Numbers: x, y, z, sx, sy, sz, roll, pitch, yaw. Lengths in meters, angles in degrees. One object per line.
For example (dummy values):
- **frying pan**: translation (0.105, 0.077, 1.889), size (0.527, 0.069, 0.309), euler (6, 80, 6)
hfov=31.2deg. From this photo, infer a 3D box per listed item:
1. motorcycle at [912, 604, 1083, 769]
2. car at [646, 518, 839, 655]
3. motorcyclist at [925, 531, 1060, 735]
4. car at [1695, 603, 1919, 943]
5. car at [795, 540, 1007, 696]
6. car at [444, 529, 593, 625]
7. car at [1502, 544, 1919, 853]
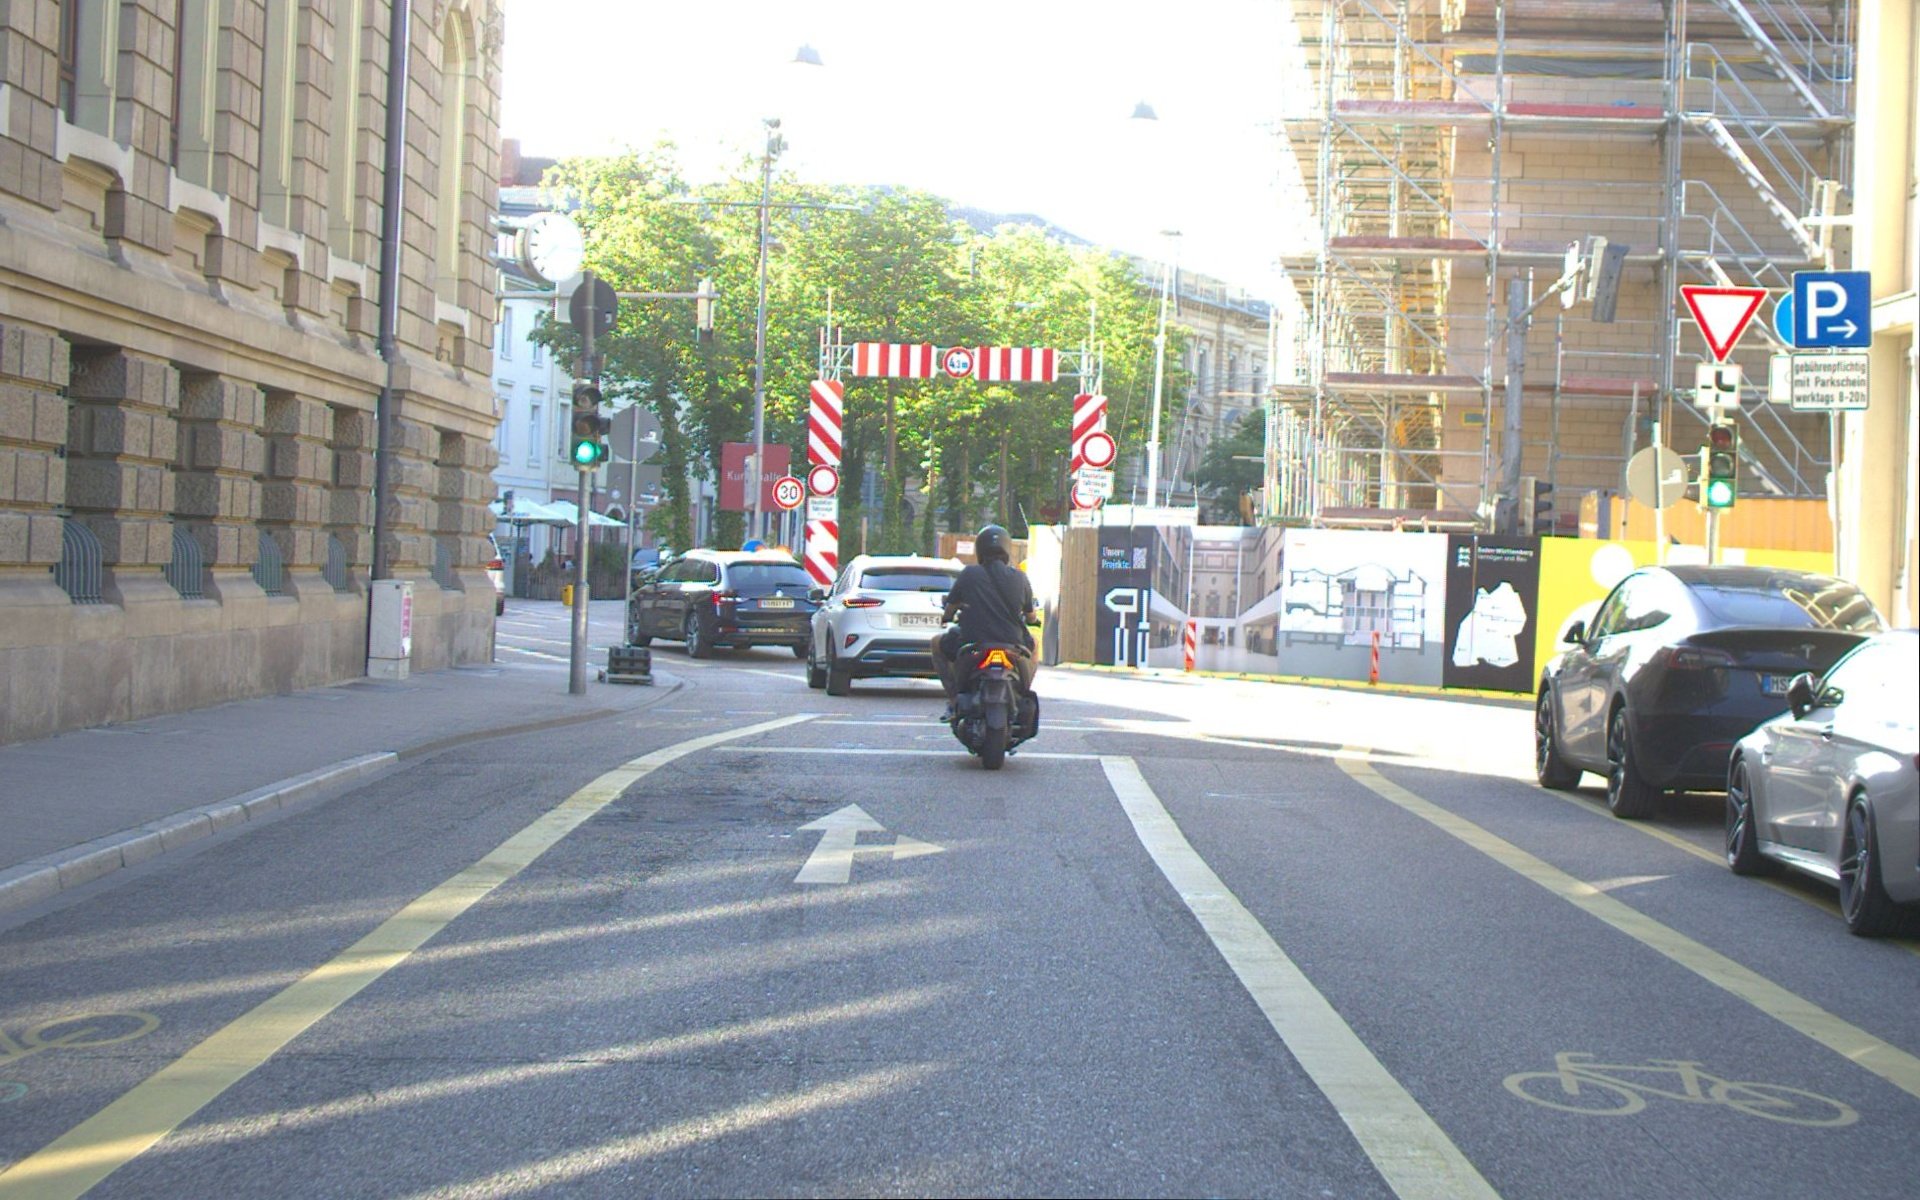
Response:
- **motorcycle**: translation (0.244, 0.594, 24.367), size (0.872, 1.105, 1.840), euler (1, 0, -10)
- **car**: translation (-3.131, -0.194, 48.802), size (1.830, 1.831, 4.001), euler (1, 0, -17)
- **motorcyclist**: translation (0.230, 0.235, 24.450), size (0.867, 1.422, 0.456), euler (1, 0, -9)
- **car**: translation (4.845, 0.767, 16.332), size (1.825, 1.394, 4.479), euler (3, 0, 2)
- **car**: translation (-0.713, 0.152, 37.638), size (1.822, 1.536, 4.265), euler (3, 1, -7)
- **car**: translation (-8.493, -0.475, 65.840), size (1.993, 1.659, 4.360), euler (-1, 3, -19)
- **car**: translation (4.965, 0.558, 22.876), size (1.824, 1.693, 4.667), euler (3, 2, -1)
